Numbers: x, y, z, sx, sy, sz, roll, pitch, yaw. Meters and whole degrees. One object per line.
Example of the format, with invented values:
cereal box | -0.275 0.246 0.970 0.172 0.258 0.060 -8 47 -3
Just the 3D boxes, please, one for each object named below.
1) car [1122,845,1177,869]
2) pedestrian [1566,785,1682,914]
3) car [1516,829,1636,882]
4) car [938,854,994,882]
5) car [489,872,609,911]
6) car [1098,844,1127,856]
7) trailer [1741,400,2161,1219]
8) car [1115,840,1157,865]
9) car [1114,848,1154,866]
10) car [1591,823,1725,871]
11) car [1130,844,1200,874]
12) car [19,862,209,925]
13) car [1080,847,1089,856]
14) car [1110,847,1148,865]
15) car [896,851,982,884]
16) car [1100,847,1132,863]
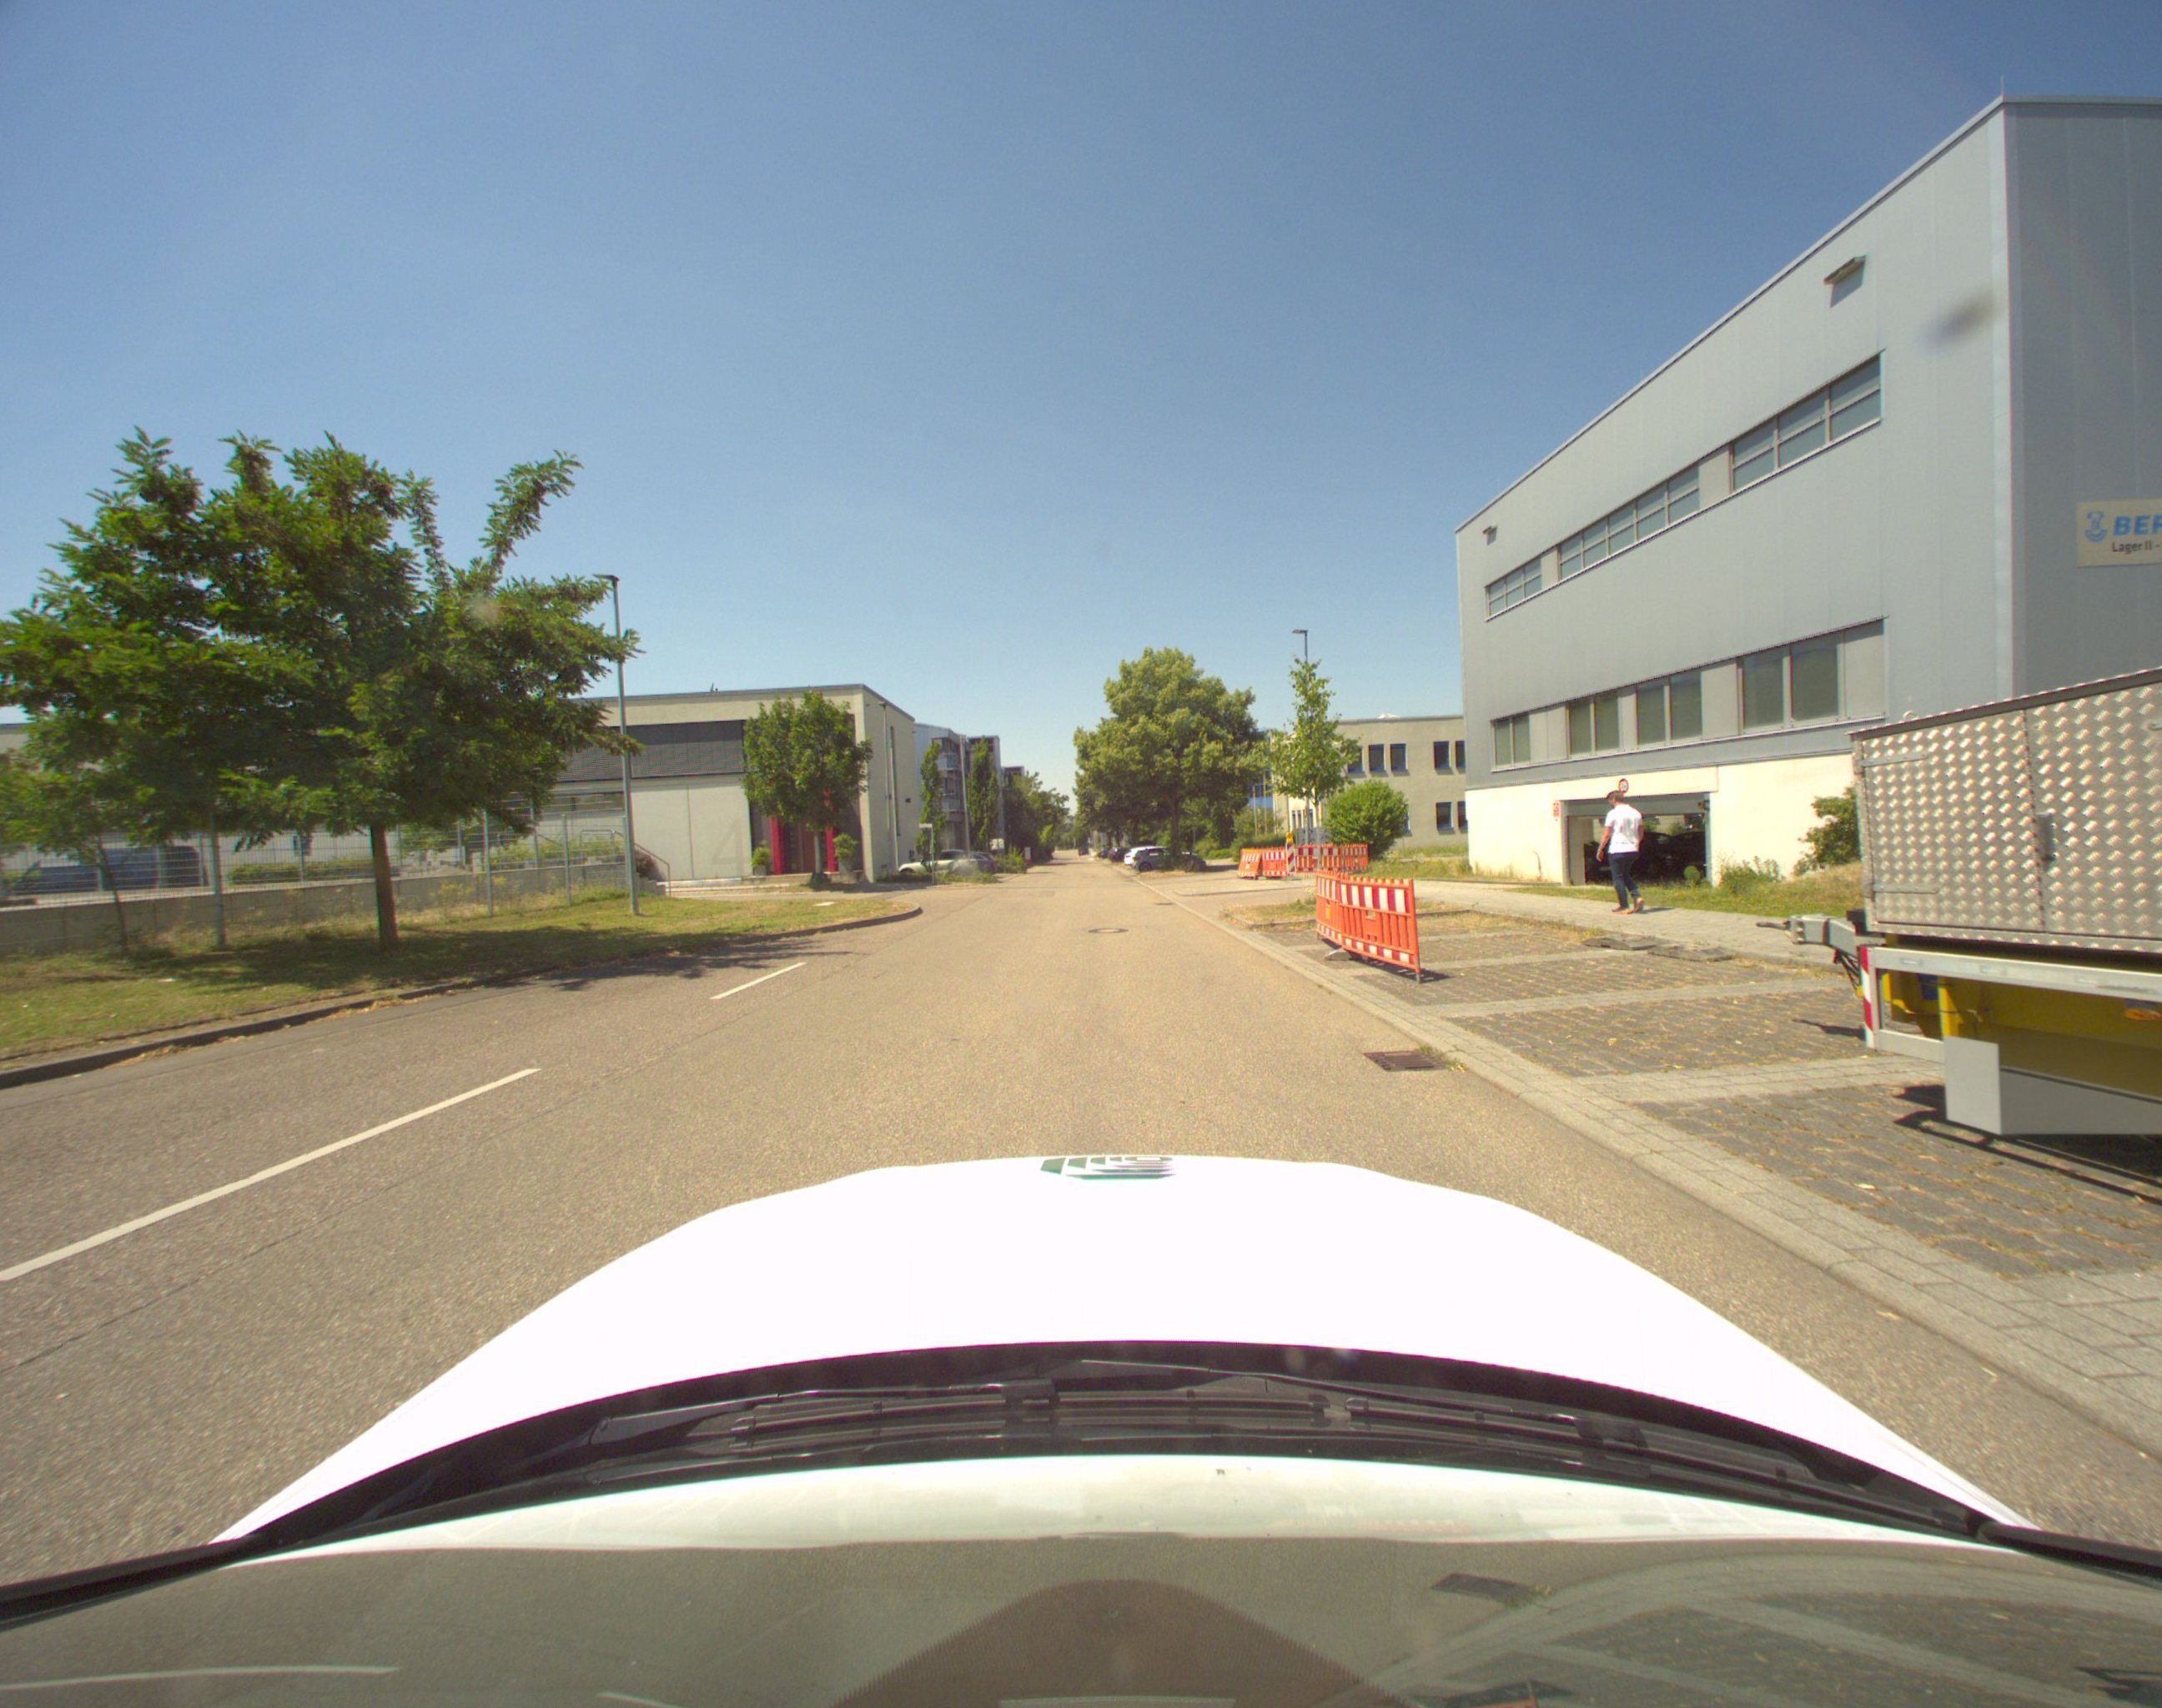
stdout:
car | 4.687 0.207 56.233 3.511 1.354 1.535 -5 0 -5
pedestrian | 8.465 -0.076 12.750 0.864 1.889 1.208 -3 1 -16
car | 16.867 -0.002 27.987 1.819 1.452 4.004 -3 3 3
car | -6.438 0.786 45.903 3.055 1.478 1.289 -1 0 -7
car | -22.832 1.590 35.045 3.987 1.408 1.657 -2 3 0
car | 4.565 -0.601 118.220 3.929 1.577 1.763 -2 3 -8
trailer | 5.165 -0.224 1.754 2.651 2.857 5.512 -4 0 -4
car | 5.121 -0.152 75.712 3.711 2.110 1.813 -2 0 -1
car | 5.102 0.272 78.689 3.711 1.626 1.813 -2 0 -1
car | 19.644 -0.223 27.961 1.874 1.477 4.003 -2 0 3
car | 4.755 0.267 46.494 3.673 1.354 1.642 -5 0 -5
car | -40.667 1.640 34.355 5.225 2.272 2.133 -2 3 0
car | 0.691 -0.503 157.280 1.755 1.755 3.945 -2 0 0
car | 4.910 0.197 83.963 3.711 1.626 1.813 -2 0 -1
car | -7.114 0.681 41.093 4.037 1.495 1.727 -2 0 -3
car | 4.505 0.175 105.881 3.929 1.834 1.763 -2 3 -8
